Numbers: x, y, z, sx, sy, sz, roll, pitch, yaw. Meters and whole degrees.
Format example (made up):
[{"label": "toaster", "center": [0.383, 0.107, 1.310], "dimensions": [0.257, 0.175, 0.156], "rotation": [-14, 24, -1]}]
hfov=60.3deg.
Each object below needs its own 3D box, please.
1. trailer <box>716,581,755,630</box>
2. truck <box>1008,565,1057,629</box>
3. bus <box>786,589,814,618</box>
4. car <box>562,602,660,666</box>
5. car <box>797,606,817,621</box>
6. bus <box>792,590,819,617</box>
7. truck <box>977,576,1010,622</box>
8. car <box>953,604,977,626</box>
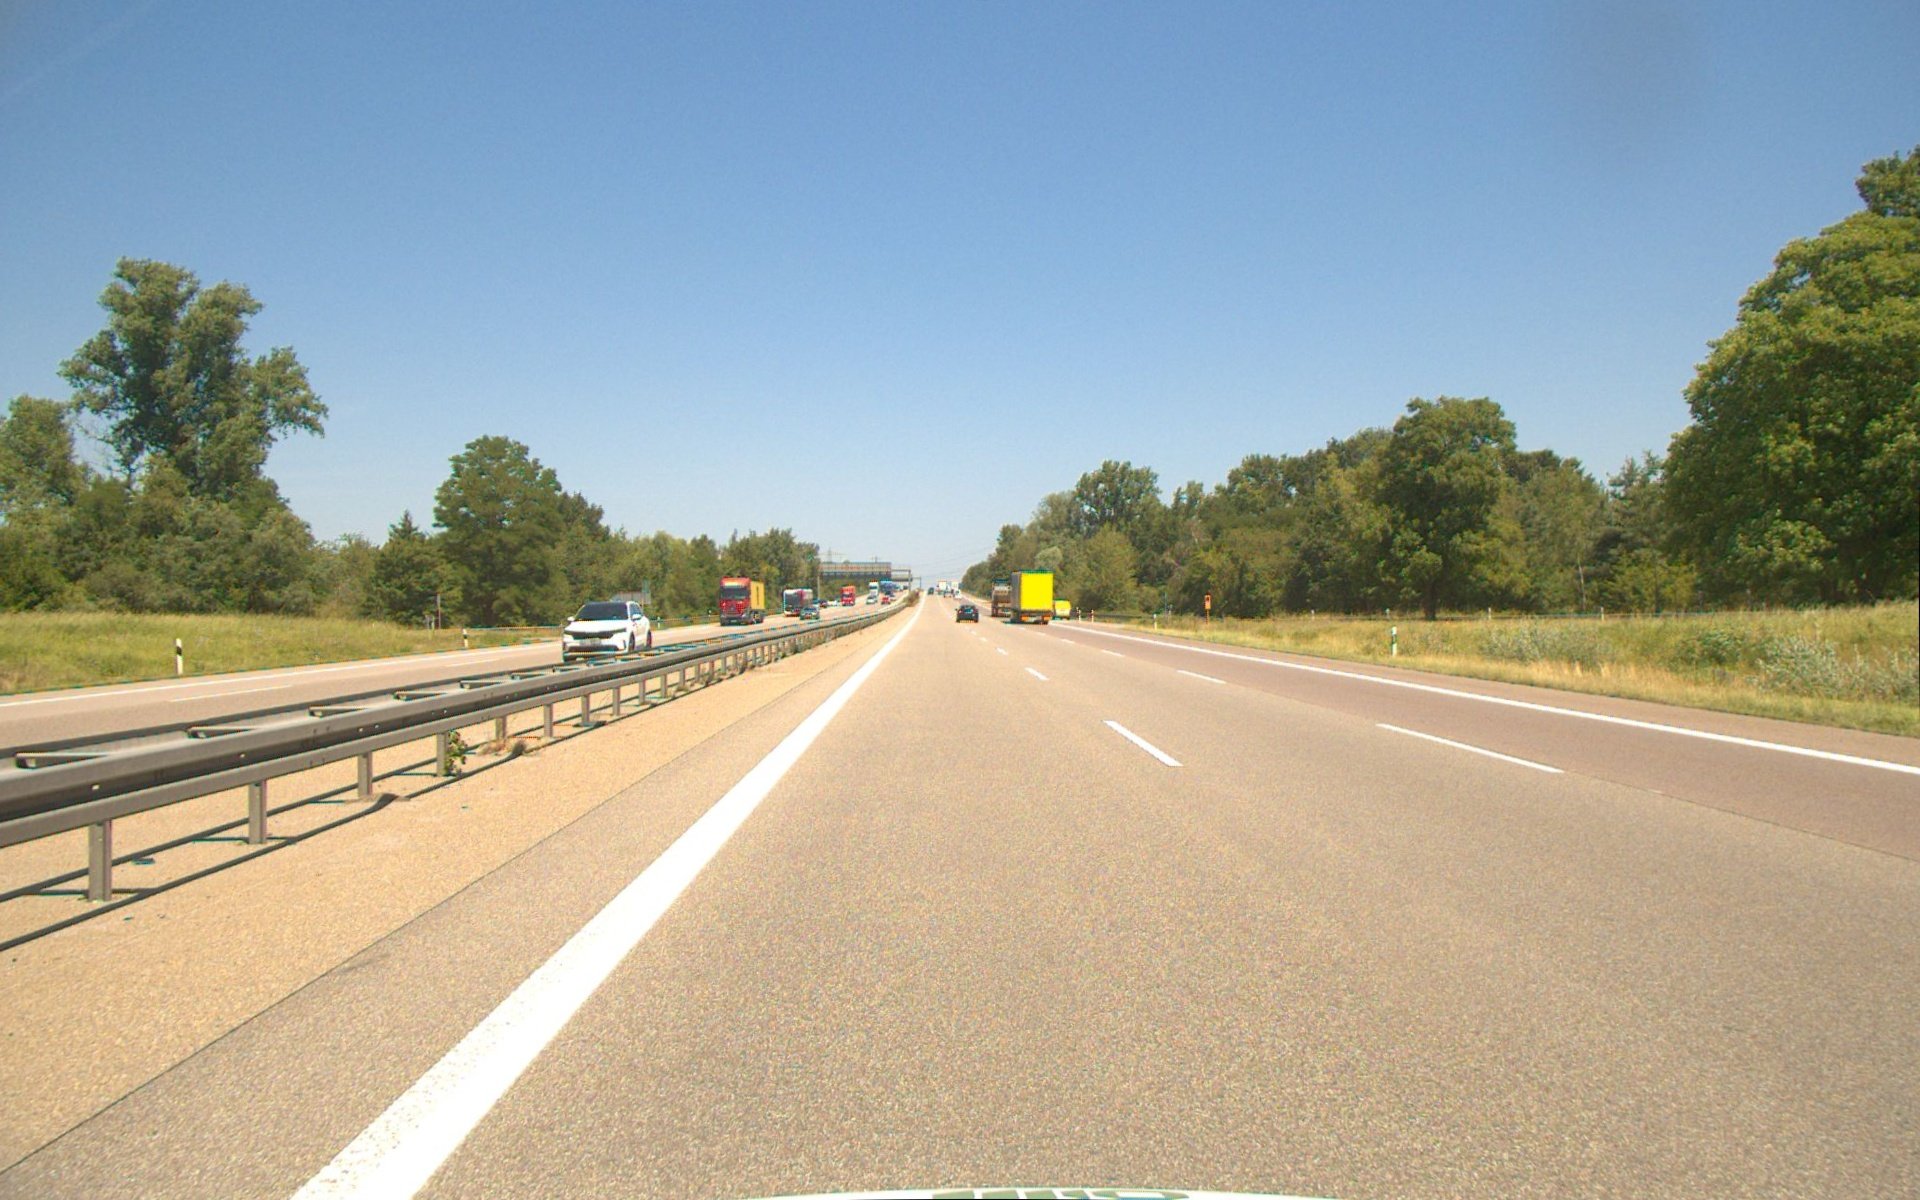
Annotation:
[{"label": "trailer", "center": [-19.281, 0.464, 142.377], "dimensions": [2.550, 4.061, 6.028], "rotation": [1, 0, -1]}, {"label": "truck", "center": [5.888, -0.191, 137.443], "dimensions": [3.308, 4.966, 15.084], "rotation": [1, 0, 0]}, {"label": "bus", "center": [-20.286, 0.440, 210.068], "dimensions": [2.707, 3.507, 8.930], "rotation": [-1, 0, -1]}, {"label": "car", "center": [-9.909, 0.923, 47.284], "dimensions": [1.774, 1.722, 5.123], "rotation": [-1, 0, -1]}, {"label": "car", "center": [-15.719, 1.372, 169.727], "dimensions": [1.686, 1.404, 4.784], "rotation": [-4, -1, -2]}, {"label": "bus", "center": [-20.437, 0.458, 219.591], "dimensions": [2.707, 3.507, 10.143], "rotation": [-1, 0, -1]}, {"label": "truck", "center": [3.710, -0.074, 186.224], "dimensions": [3.298, 4.966, 15.084], "rotation": [1, 0, 0]}, {"label": "car", "center": [0.401, 1.221, 136.564], "dimensions": [1.790, 1.736, 3.999], "rotation": [1, 0, -1]}]
